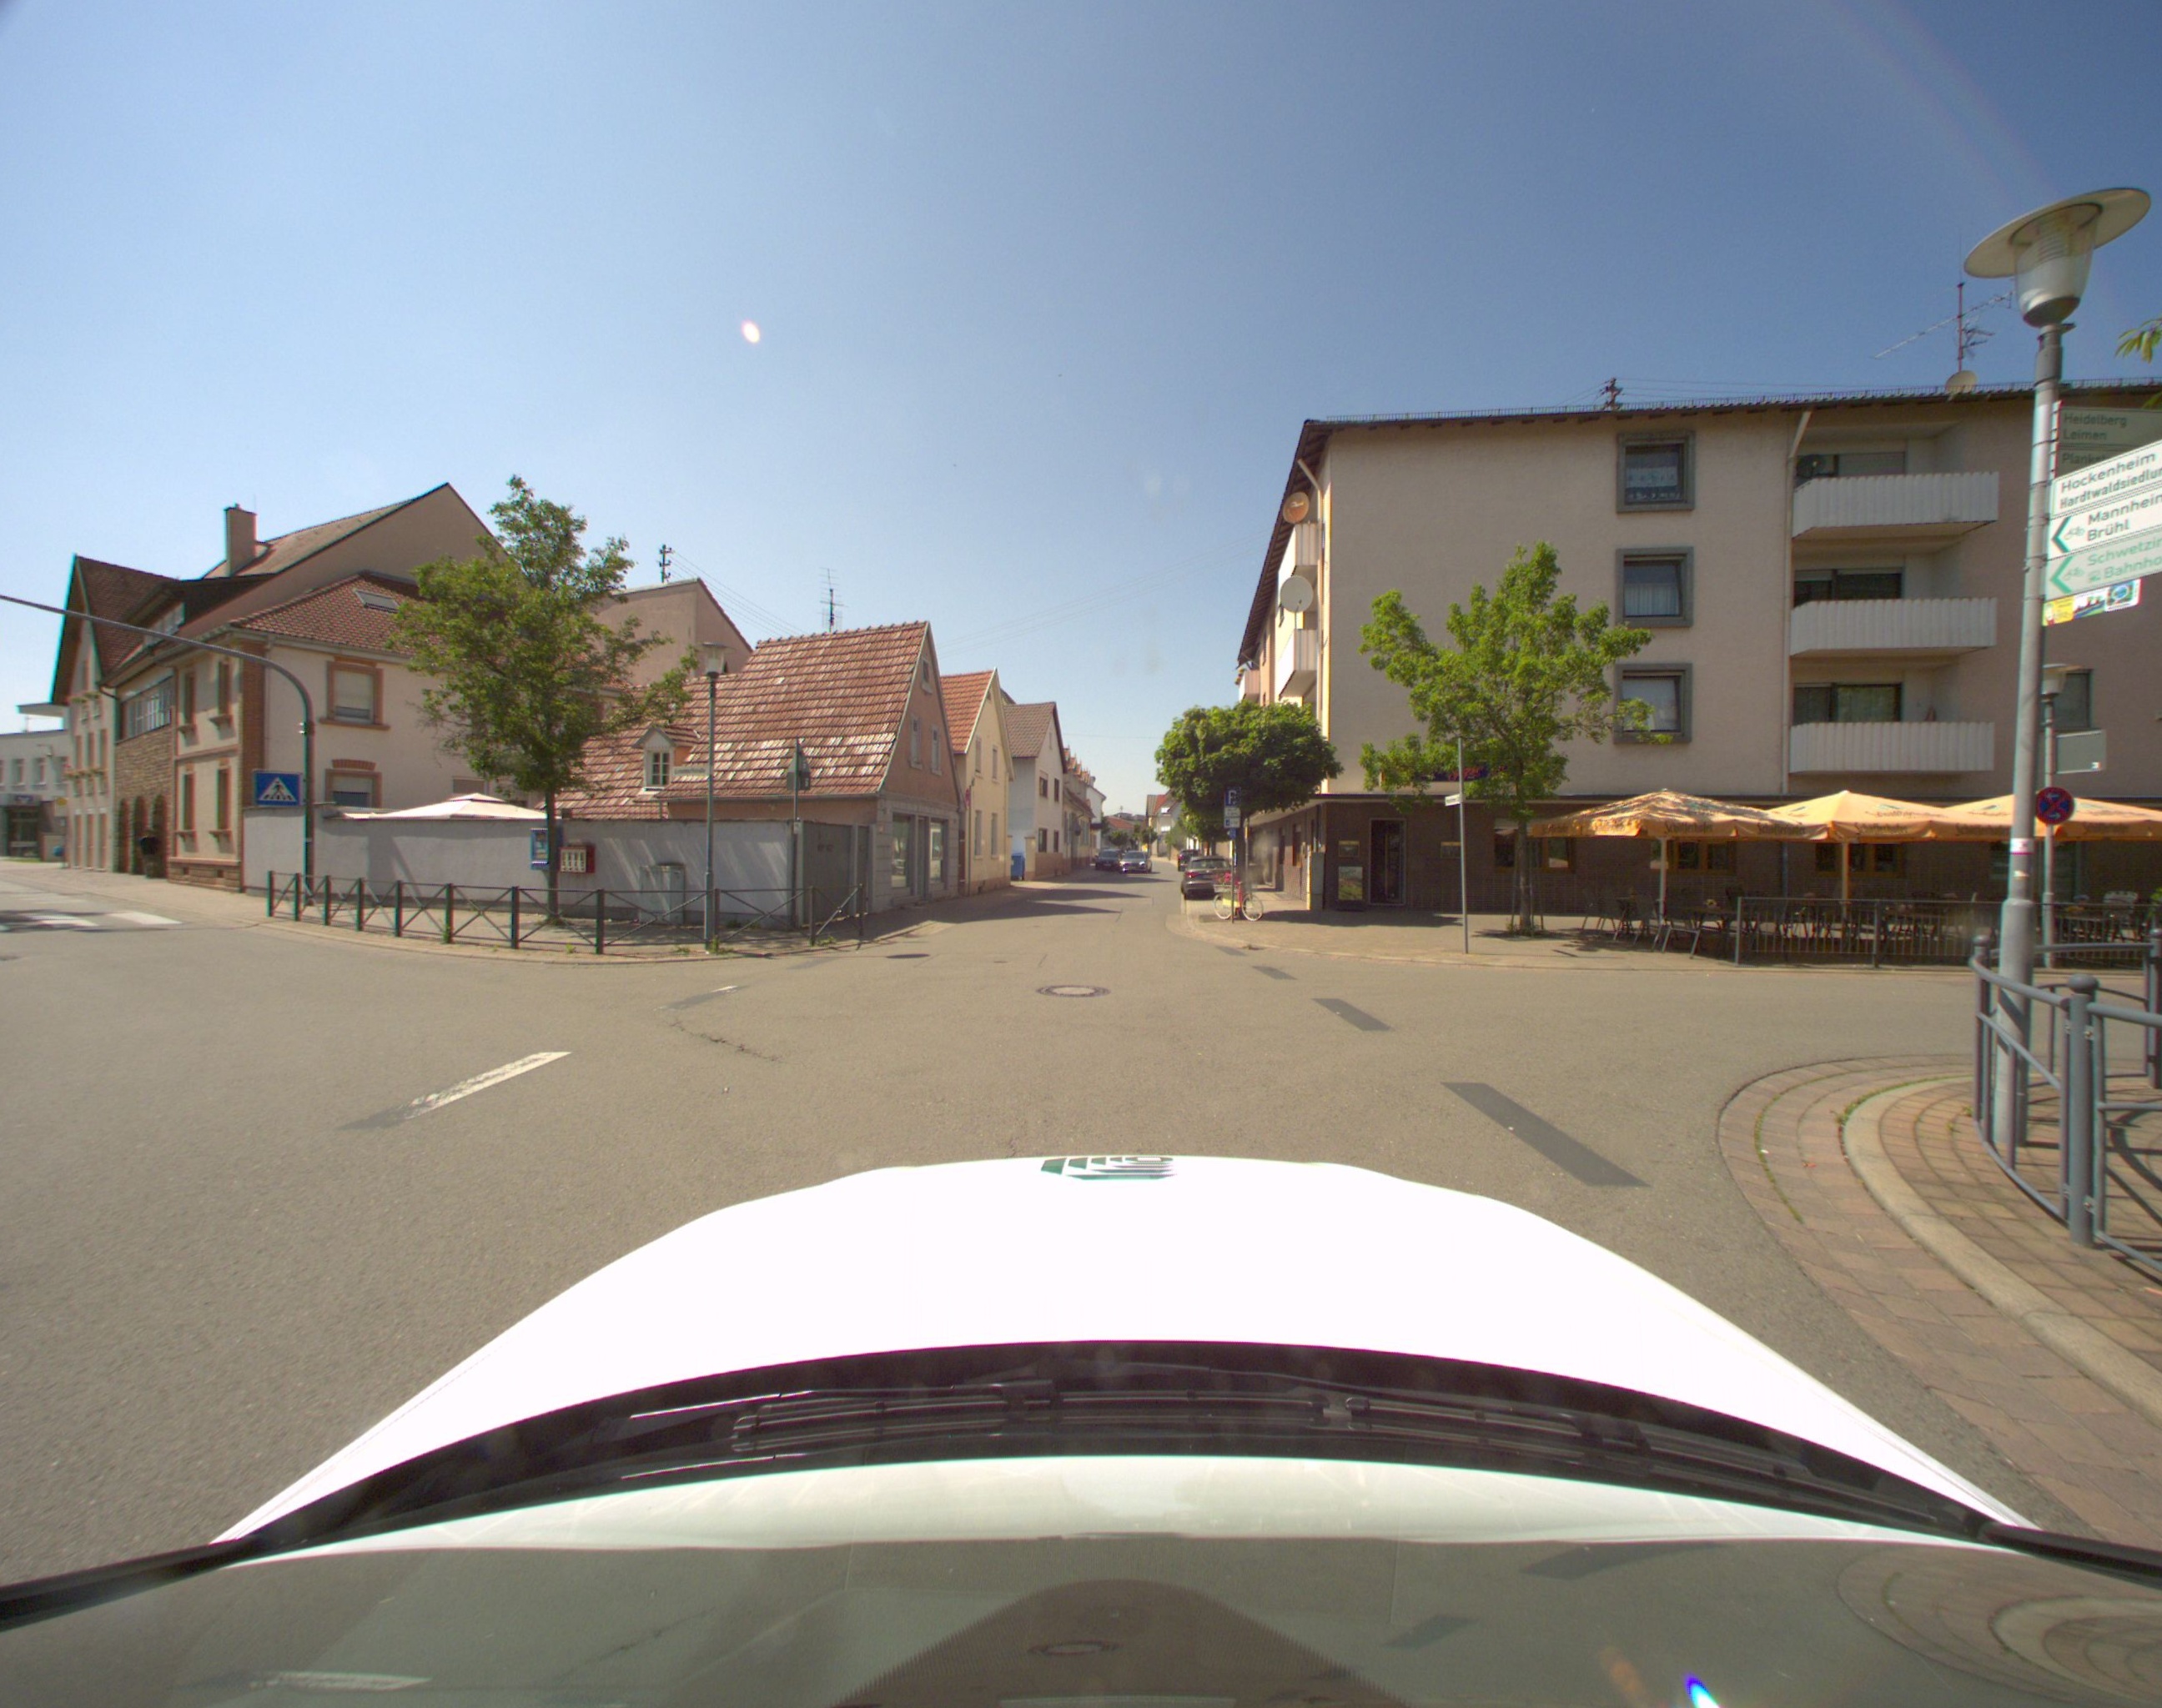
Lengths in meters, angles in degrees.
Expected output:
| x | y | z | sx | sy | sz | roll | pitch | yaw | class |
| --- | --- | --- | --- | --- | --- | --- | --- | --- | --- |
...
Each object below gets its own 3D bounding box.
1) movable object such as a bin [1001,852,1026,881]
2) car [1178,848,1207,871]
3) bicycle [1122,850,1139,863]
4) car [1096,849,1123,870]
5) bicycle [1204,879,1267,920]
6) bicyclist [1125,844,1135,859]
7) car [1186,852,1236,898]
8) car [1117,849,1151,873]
| x | y | z | sx | sy | sz | roll | pitch | yaw | class |
| --- | --- | --- | --- | --- | --- | --- | --- | --- | --- |
| -3.141 | 0.575 | 38.073 | 1.095 | 1.365 | 0.391 | 0 | 0 | 9 | movable object such as a bin |
| 8.372 | 0.377 | 61.339 | 2.032 | 1.689 | 4.850 | 0 | 0 | 6 | car |
| 5.276 | 0.258 | 87.512 | 1.618 | 1.370 | 3.926 | 0 | 0 | 0 | bicycle |
| 2.087 | 0.366 | 59.105 | 1.655 | 1.476 | 4.141 | 0 | 0 | 6 | car |
| 3.595 | 1.049 | 19.035 | 1.396 | 0.897 | 0.468 | -1 | 0 | 43 | bicycle |
| 5.209 | -0.296 | 87.131 | 1.043 | 1.637 | 1.128 | 0 | 0 | 0 | bicyclist |
| 4.373 | 0.670 | 27.642 | 1.567 | 1.454 | 3.494 | 0 | 0 | 8 | car |
| 3.605 | 0.449 | 54.709 | 1.898 | 1.481 | 4.855 | 0 | 1 | 8 | car |
